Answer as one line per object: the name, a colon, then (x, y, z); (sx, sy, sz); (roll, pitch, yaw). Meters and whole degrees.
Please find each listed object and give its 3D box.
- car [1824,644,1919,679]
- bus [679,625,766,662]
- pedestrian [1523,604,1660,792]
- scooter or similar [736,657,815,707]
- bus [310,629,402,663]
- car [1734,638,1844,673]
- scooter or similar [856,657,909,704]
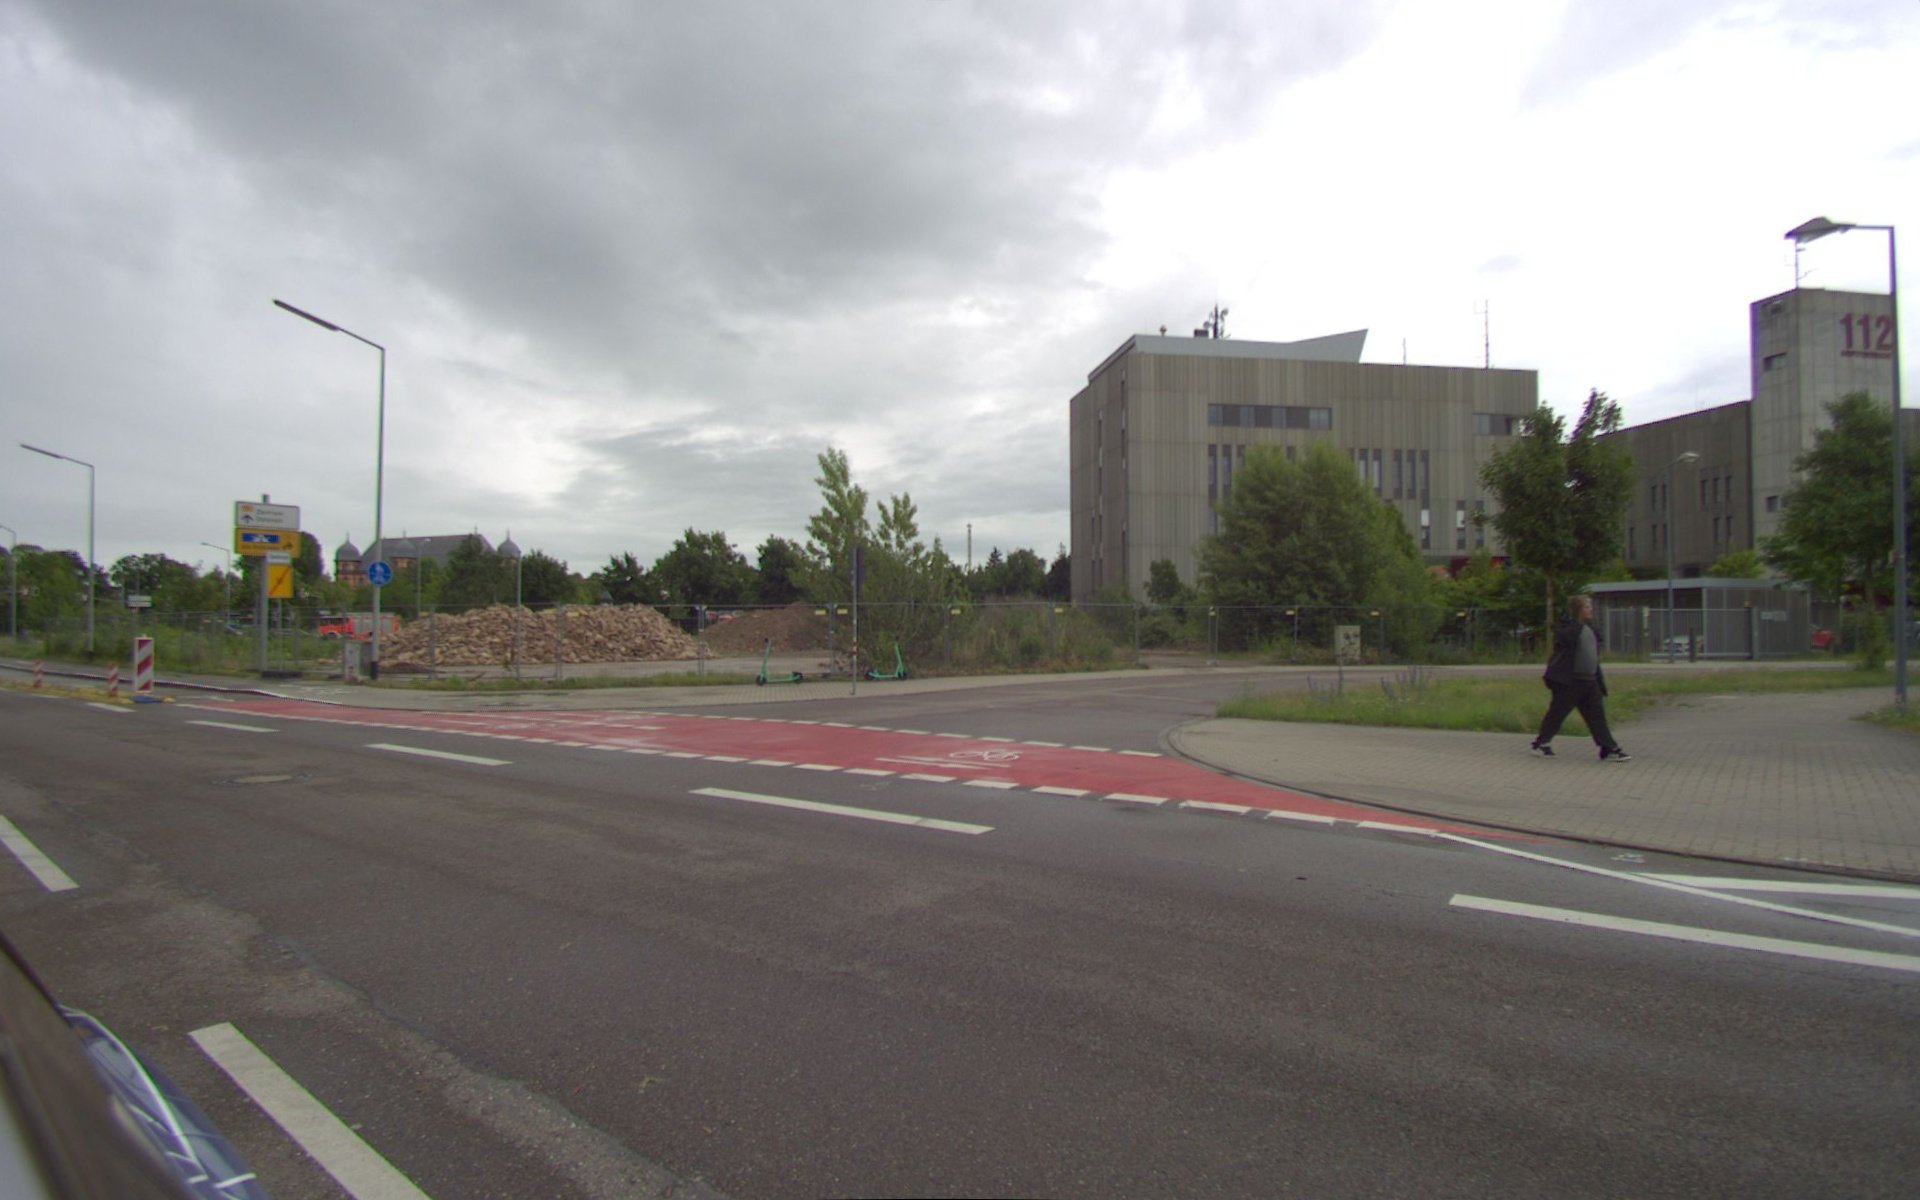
car: (47.669, 3.162, 52.643); (3.939, 1.752, 1.816); (0, -2, -5)
bus: (-27.718, 5.092, 118.598); (9.731, 4.013, 2.739); (-1, -3, -9)
pedestrian: (6.486, 0.975, 10.400); (1.074, 1.796, 0.836); (-3, -4, 35)
scooter or similar: (-4.512, 1.994, 24.855); (1.874, 1.151, 0.658); (-1, -2, -5)
bus: (-67.018, 5.114, 112.442); (8.260, 3.676, 2.740); (0, -3, -11)
car: (39.202, 2.614, 47.908); (3.936, 1.608, 1.776); (0, -2, -8)
scooter or similar: (-2.023, 2.081, 26.380); (1.315, 1.151, 0.413); (0, -1, -21)
